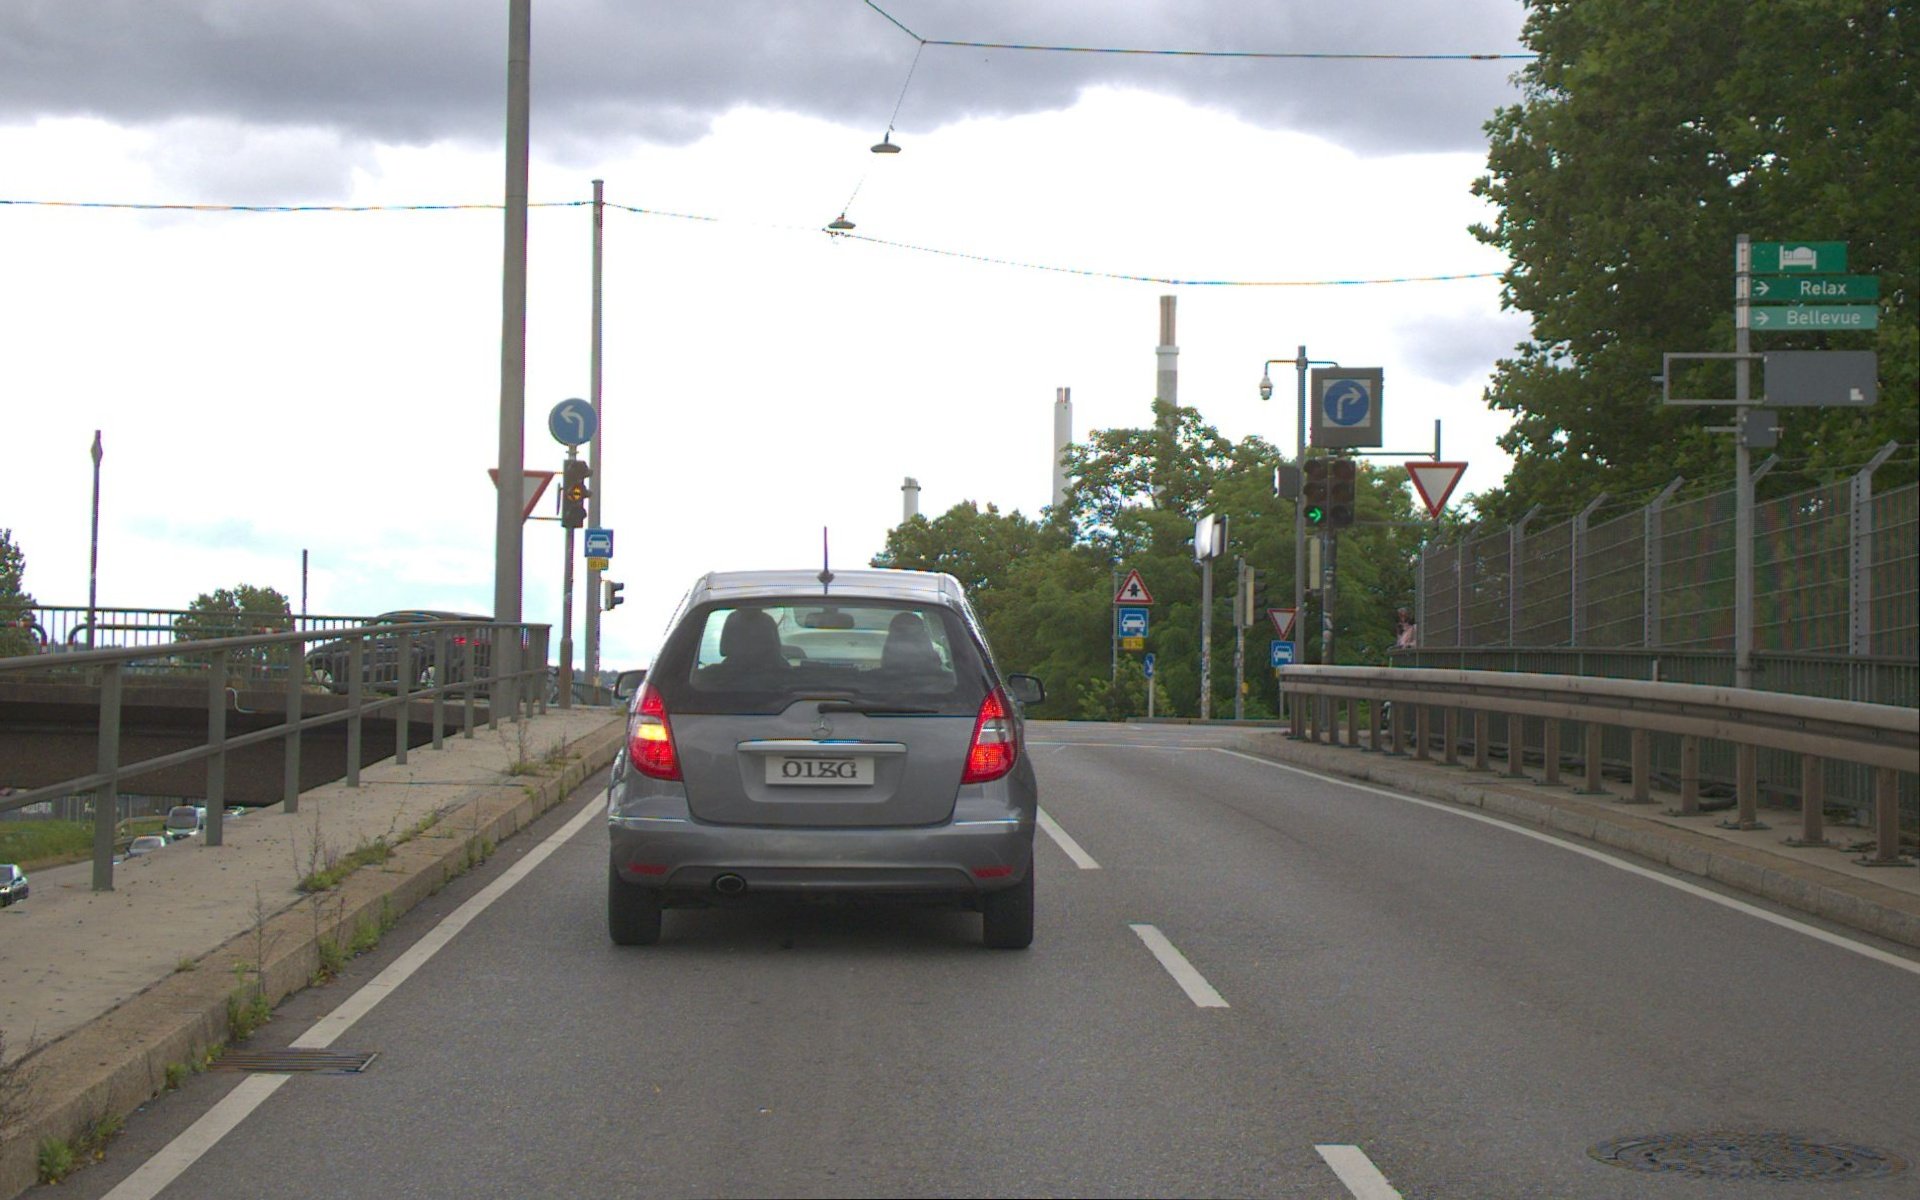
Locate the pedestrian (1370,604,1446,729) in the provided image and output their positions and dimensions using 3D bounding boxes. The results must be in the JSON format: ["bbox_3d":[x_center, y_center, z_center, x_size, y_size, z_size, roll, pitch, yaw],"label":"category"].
[{"bbox_3d":[6.162,0.922,47.292,0.832,1.672,0.979,1,-3,-5],"label":"pedestrian"}]

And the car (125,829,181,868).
[{"bbox_3d":[-39.998,12.310,170.533,1.930,1.835,4.410,0,-3,-3],"label":"car"}]

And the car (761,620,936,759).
[{"bbox_3d":[-1.521,1.142,45.447,1.931,1.711,4.001,1,0,-7],"label":"car"}]

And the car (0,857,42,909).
[{"bbox_3d":[-34.800,10.282,124.957,1.915,1.733,4.552,0,-3,-4],"label":"car"}]

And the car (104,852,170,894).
[{"bbox_3d":[-32.134,10.639,134.324,1.728,1.523,4.086,1,-3,-3],"label":"car"}]

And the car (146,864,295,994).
[{"bbox_3d":[-16.324,7.240,76.220,1.993,2.676,5.932,1,-4,0],"label":"car"}]

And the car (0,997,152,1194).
[{"bbox_3d":[-11.148,5.779,40.596,1.993,1.870,5.198,1,-4,-1],"label":"car"}]

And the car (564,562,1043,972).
[{"bbox_3d":[-0.624,0.650,15.487,1.857,1.583,4.000,1,0,0],"label":"car"}]

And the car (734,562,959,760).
[{"bbox_3d":[-1.133,0.536,32.279,1.931,1.711,4.406,1,0,-4],"label":"car"}]

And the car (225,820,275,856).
[{"bbox_3d":[-39.087,13.098,189.433,1.993,1.835,4.423,1,-3,-3],"label":"car"}]

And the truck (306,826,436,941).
[{"bbox_3d":[-18.202,8.734,106.645,2.746,3.282,7.440,1,-3,0],"label":"truck"}]

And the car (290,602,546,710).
[{"bbox_3d":[-8.870,0.909,56.528,3.986,1.711,1.938,1,0,-4],"label":"car"}]

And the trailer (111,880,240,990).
[{"bbox_3d":[-16.241,6.922,71.368,1.729,2.123,3.935,1,-4,0],"label":"trailer"}]

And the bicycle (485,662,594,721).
[{"bbox_3d":[-8.282,1.796,67.629,2.032,1.121,0.929,1,0,-13],"label":"bicycle"}]
